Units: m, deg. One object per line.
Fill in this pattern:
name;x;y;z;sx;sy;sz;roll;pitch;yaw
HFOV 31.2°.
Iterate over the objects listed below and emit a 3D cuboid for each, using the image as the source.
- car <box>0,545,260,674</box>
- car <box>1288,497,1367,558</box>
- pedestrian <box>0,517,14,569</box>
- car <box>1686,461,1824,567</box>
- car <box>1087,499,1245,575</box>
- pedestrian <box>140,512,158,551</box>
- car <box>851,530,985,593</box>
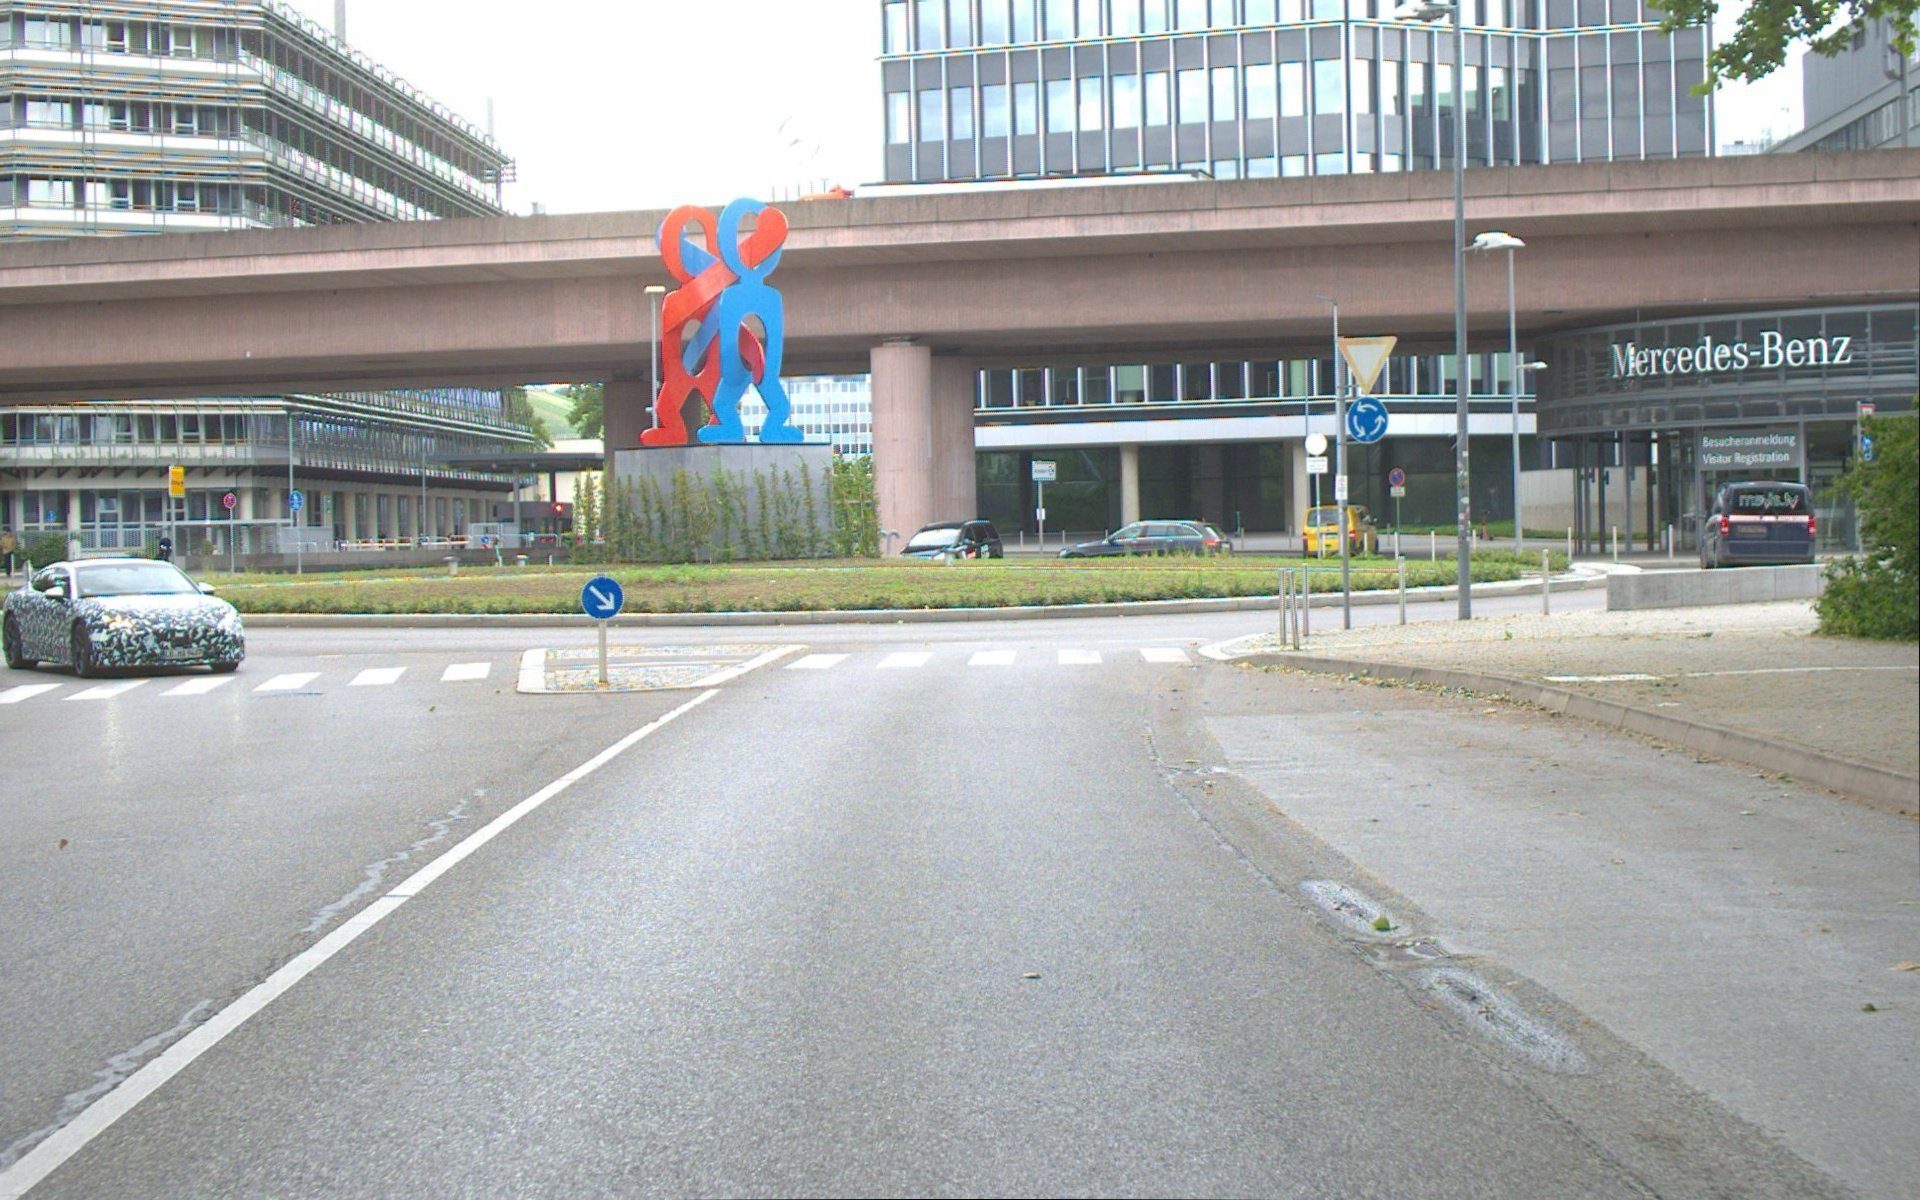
car;-10.606;0.090;43.374;1.901;1.448;4.815;-3;2;-31
car;12.397;-2.445;115.777;1.995;2.007;3.997;0;1;16
pedestrian;-36.925;-2.190;133.043;0.588;2.007;0.599;0;1;-13
car;15.680;-1.676;68.022;2.277;2.007;4.782;0;1;8
car;5.296;-1.612;88.265;3.724;1.919;1.920;0;1;16
pedestrian;-42.446;-3.591;179.956;0.776;2.007;0.671;-1;1;-1
car;-1.177;-1.106;98.156;1.997;1.766;3.993;0;1;32
